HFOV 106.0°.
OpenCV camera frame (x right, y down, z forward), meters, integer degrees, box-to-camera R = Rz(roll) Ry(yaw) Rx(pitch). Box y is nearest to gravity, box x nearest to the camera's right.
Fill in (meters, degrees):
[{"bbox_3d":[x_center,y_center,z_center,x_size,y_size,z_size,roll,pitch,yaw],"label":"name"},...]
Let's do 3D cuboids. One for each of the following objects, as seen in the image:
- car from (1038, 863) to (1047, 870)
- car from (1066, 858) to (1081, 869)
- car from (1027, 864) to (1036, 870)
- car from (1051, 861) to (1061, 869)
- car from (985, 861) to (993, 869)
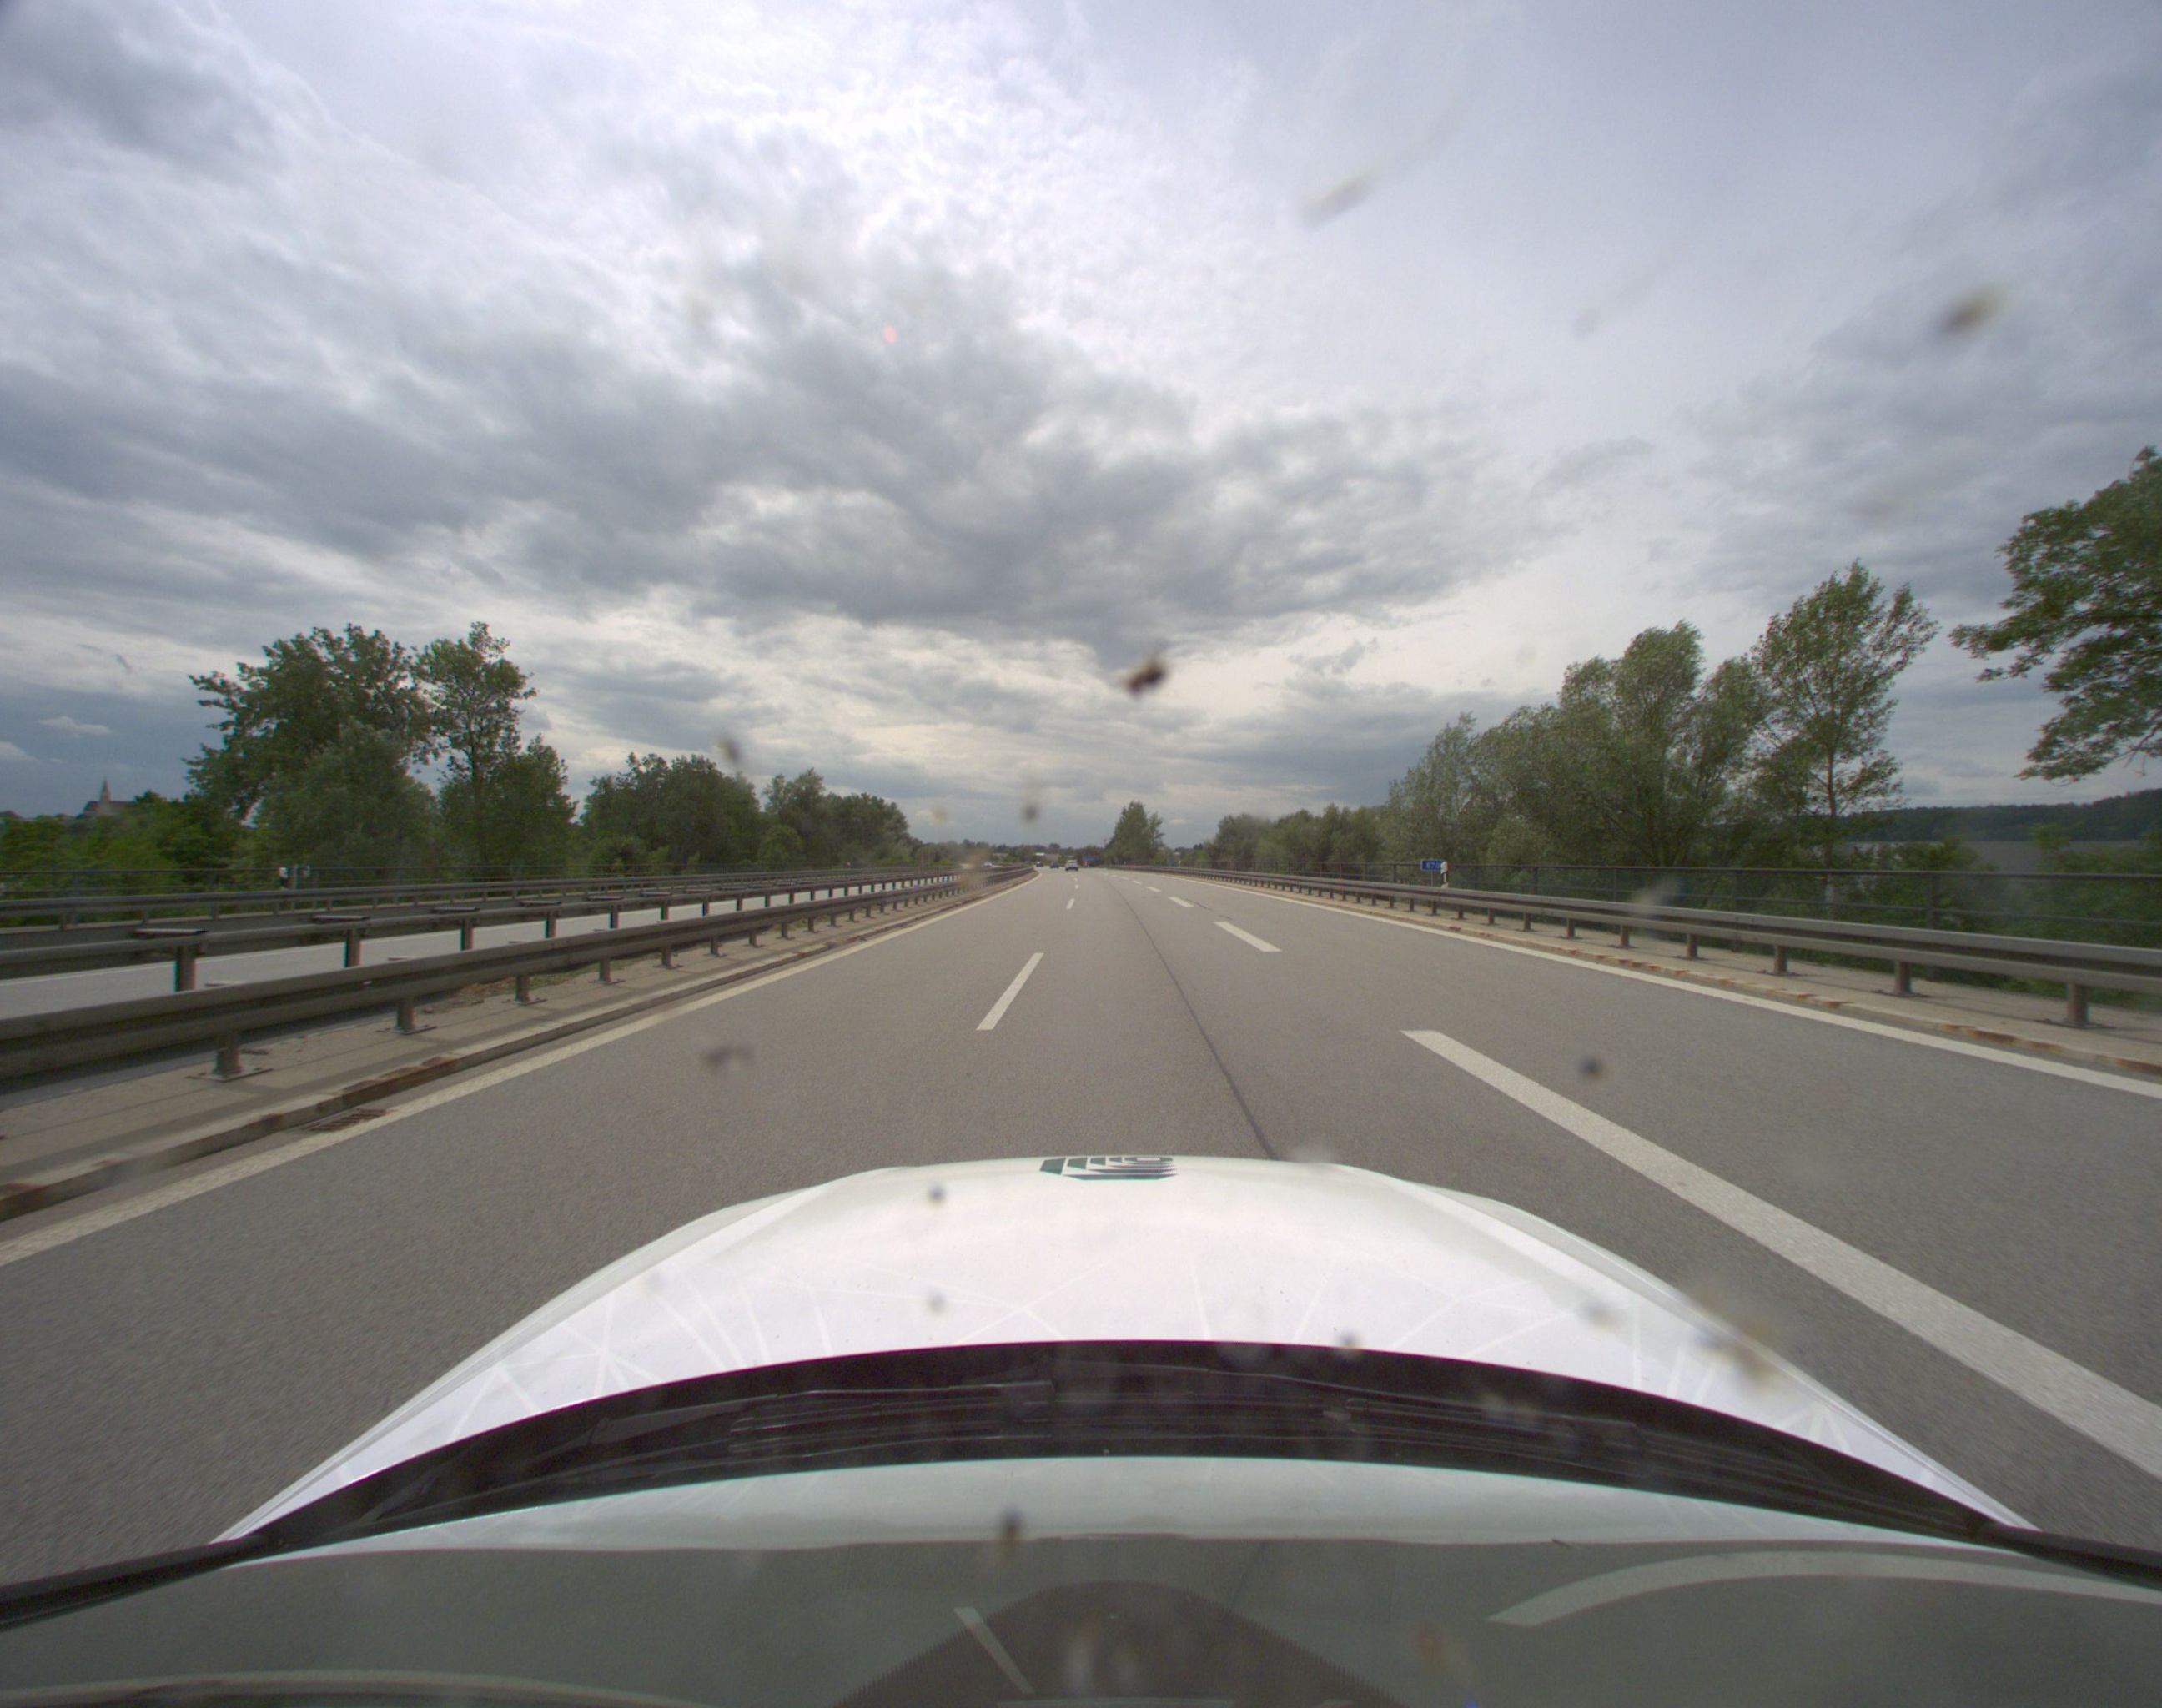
[{"bbox_3d":[-10.337,3.315,218.236,1.902,1.640,4.764,0,-1,-9],"label":"car"},{"bbox_3d":[-1.212,1.447,125.618,1.900,1.640,4.386,0,-1,-6],"label":"car"},{"bbox_3d":[-15.358,4.068,252.675,1.828,1.794,4.394,0,0,-13],"label":"car"},{"bbox_3d":[-5.355,2.435,175.984,1.890,1.640,4.612,0,0,-6],"label":"car"},{"bbox_3d":[-21.494,2.588,190.457,1.639,1.715,4.975,0,-1,-3],"label":"car"}]
